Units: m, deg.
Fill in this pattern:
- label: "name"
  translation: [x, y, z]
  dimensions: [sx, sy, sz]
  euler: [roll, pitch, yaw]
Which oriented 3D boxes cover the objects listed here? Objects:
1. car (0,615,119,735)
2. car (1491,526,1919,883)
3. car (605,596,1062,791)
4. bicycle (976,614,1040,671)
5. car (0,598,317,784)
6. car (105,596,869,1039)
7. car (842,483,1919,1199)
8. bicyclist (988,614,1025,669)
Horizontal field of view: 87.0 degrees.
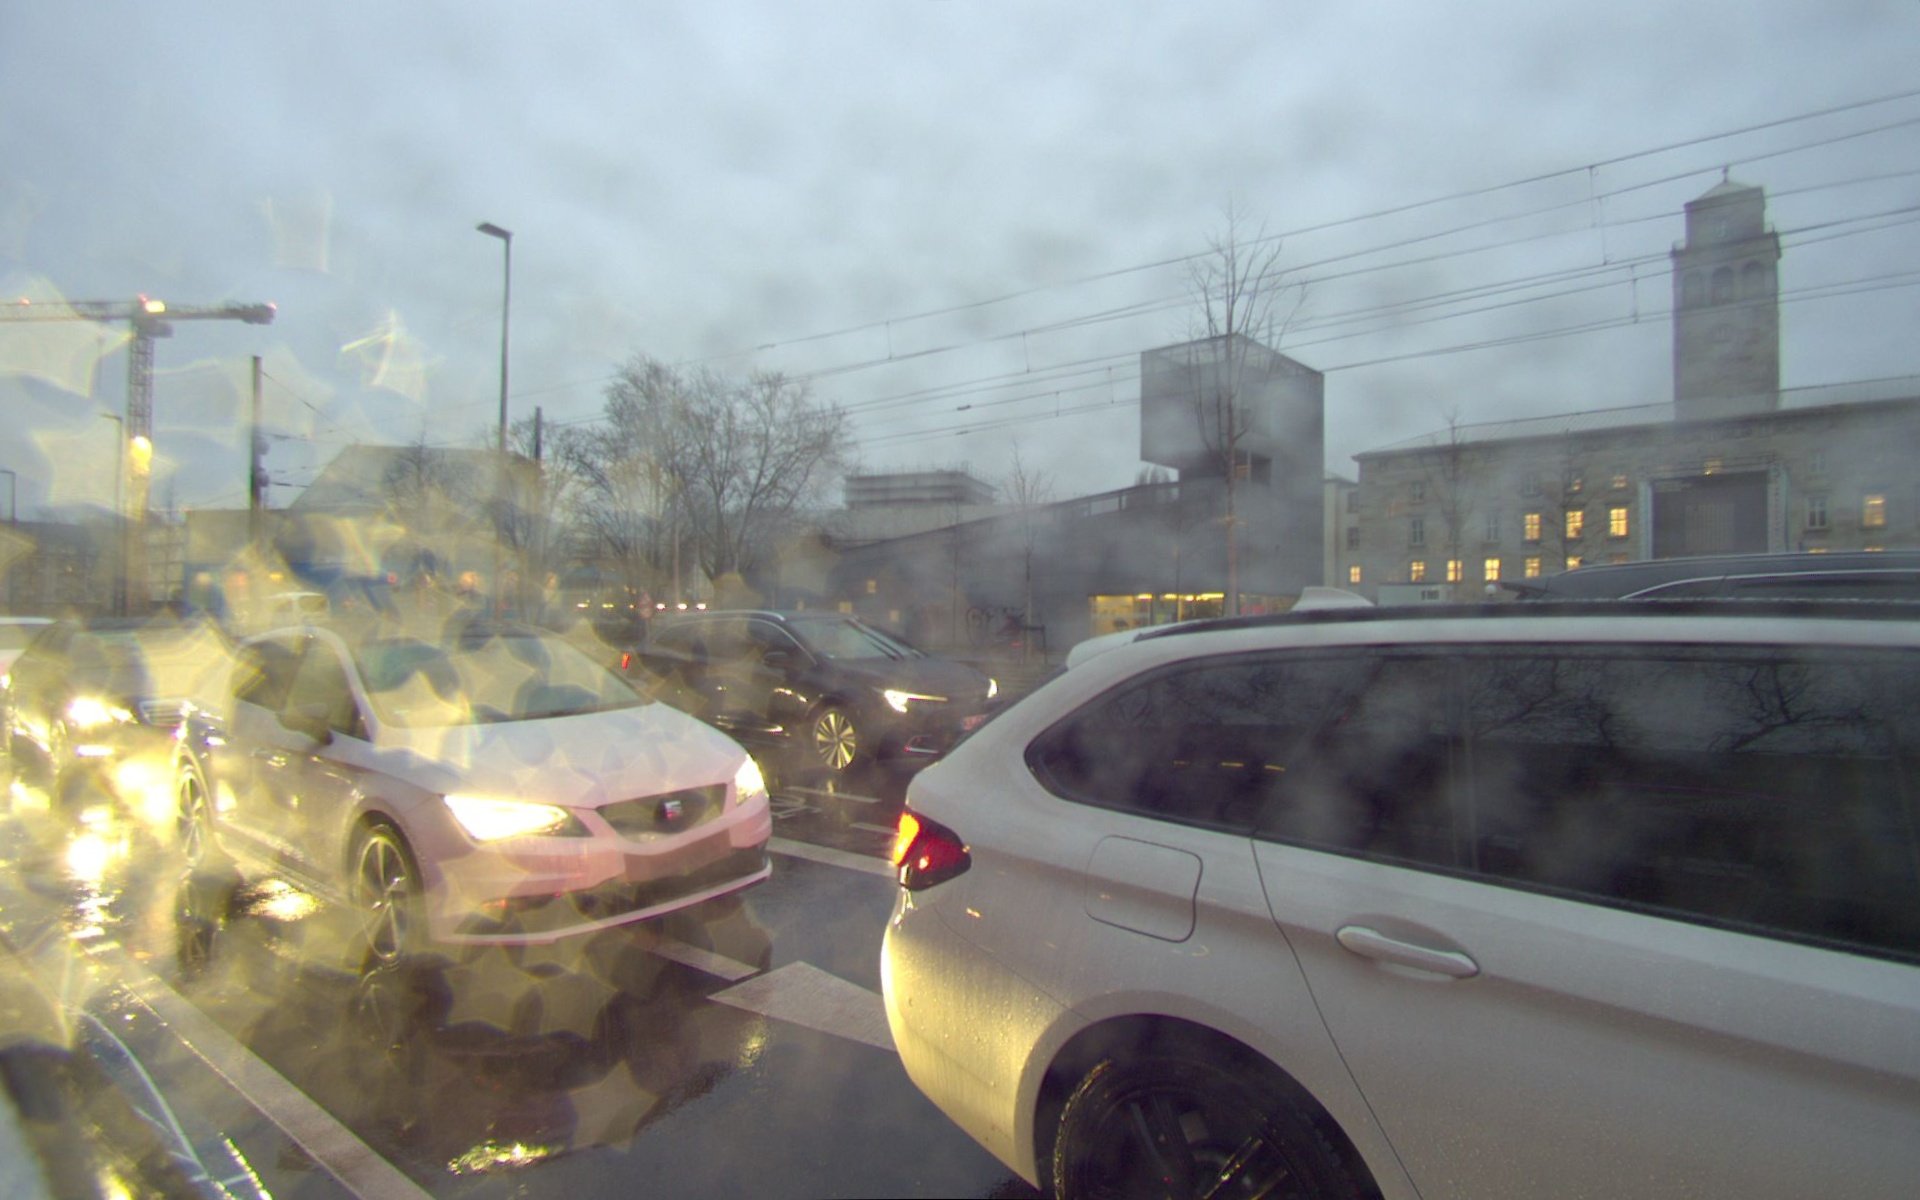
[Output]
- label: "car"
  translation: [-14.234, 1.040, 15.183]
  dimensions: [3.998, 1.586, 1.882]
  euler: [-1, 0, 41]
- label: "car"
  translation: [5.233, 0.475, 5.001]
  dimensions: [4.289, 1.596, 1.946]
  euler: [-1, -1, 42]
- label: "car"
  translation: [-1.432, 0.753, 10.077]
  dimensions: [4.659, 1.519, 1.830]
  euler: [0, -1, 39]
- label: "bicycle"
  translation: [1.559, 1.367, 33.280]
  dimensions: [2.061, 1.746, 0.754]
  euler: [1, 1, 39]
- label: "car"
  translation: [-8.534, 0.787, 10.366]
  dimensions: [4.501, 1.498, 1.974]
  euler: [-1, -2, 39]
- label: "car"
  translation: [-2.827, 0.772, 5.582]
  dimensions: [4.497, 1.498, 1.926]
  euler: [-1, 0, 37]
- label: "car"
  translation: [2.093, 0.627, 1.652]
  dimensions: [4.557, 1.498, 1.996]
  euler: [-1, -2, 41]
- label: "bicyclist"
  translation: [1.524, 1.352, 33.302]
  dimensions: [0.960, 1.746, 0.754]
  euler: [1, 1, 38]
